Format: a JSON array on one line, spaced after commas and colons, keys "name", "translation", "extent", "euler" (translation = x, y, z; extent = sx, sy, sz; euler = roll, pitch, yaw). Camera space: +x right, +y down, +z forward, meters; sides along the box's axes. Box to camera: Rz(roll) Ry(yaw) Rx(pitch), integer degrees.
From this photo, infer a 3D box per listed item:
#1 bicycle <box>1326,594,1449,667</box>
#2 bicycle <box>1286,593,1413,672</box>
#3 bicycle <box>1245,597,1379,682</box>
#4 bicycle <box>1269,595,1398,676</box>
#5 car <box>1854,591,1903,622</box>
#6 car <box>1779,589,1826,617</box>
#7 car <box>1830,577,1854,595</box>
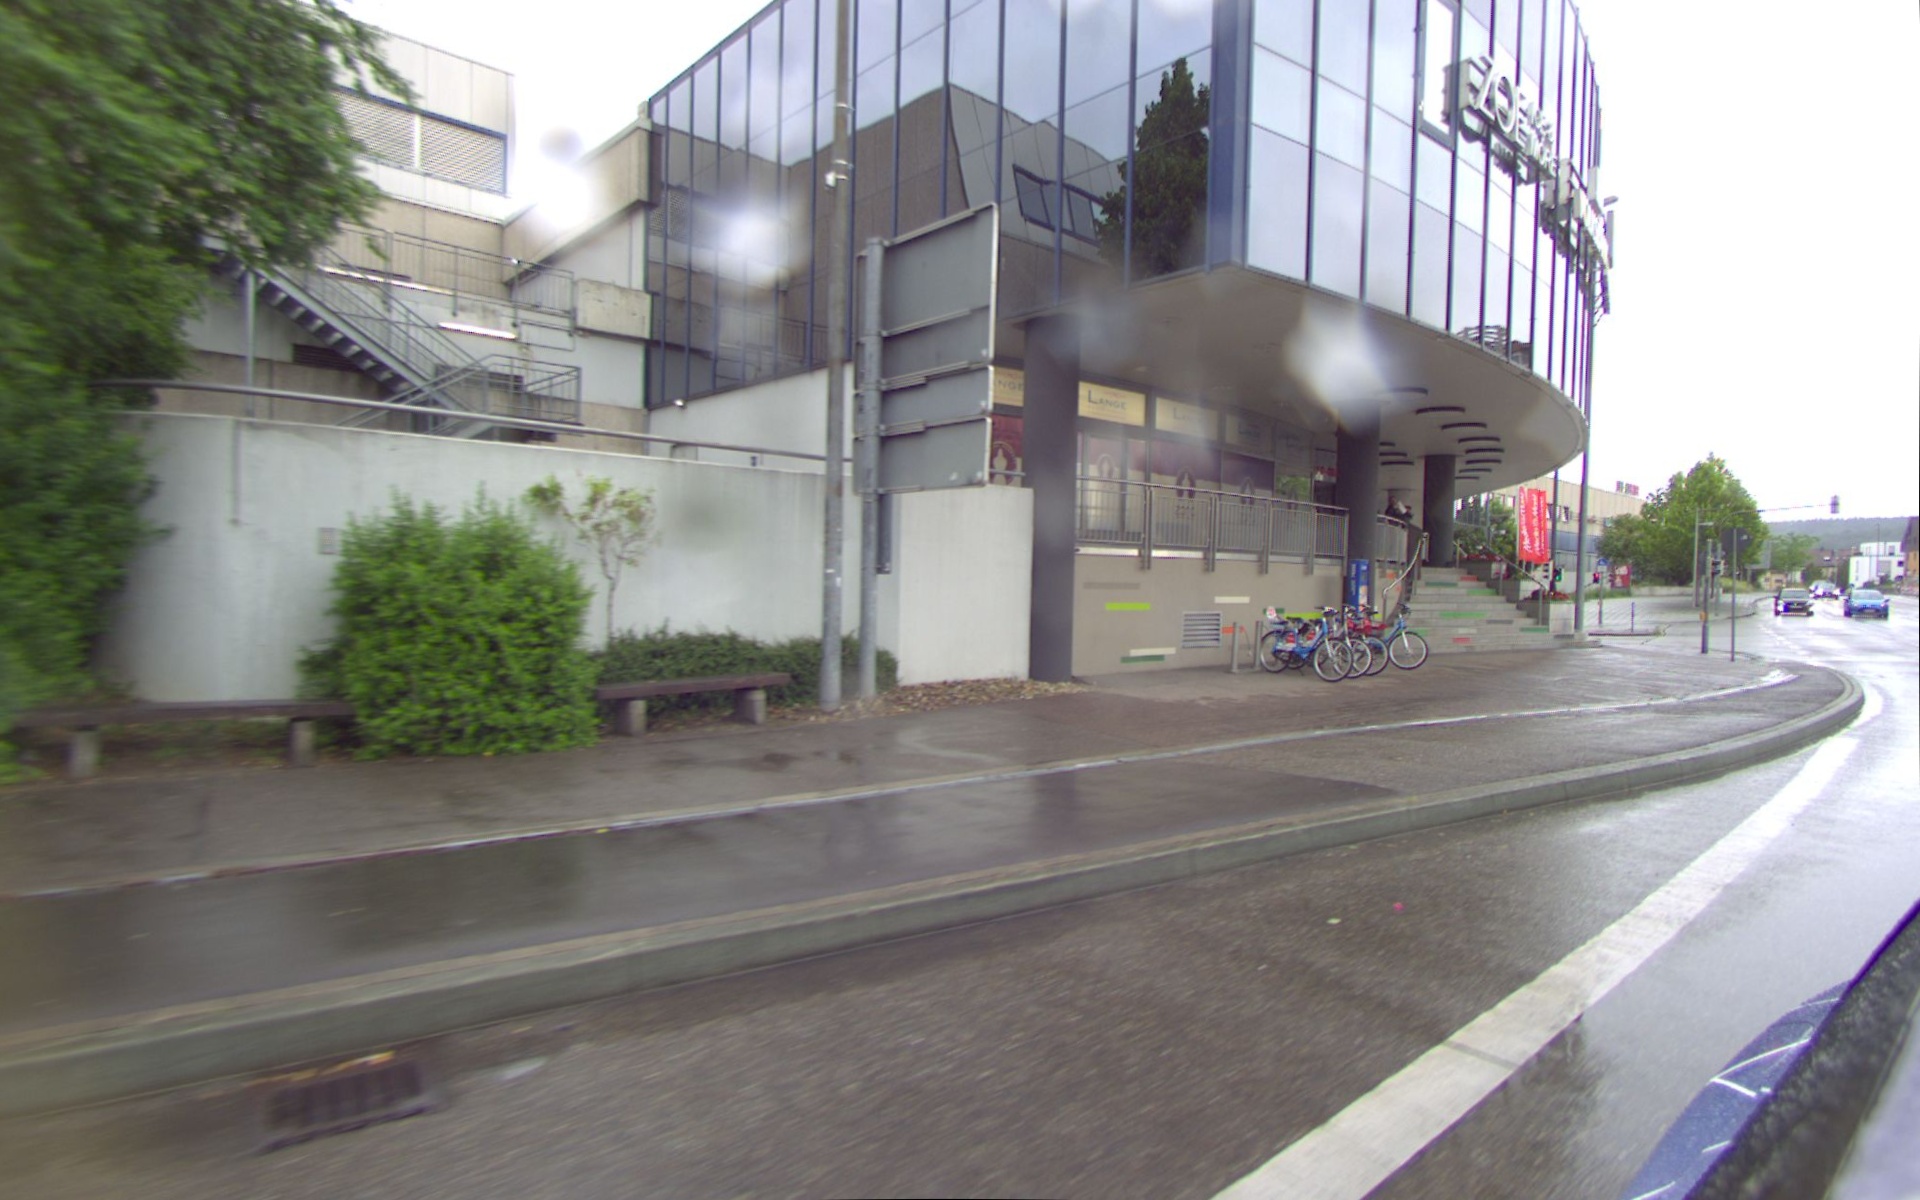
[{"name": "bicycle", "translation": [7.456, 0.500, 17.722], "extent": [0.682, 1.124, 1.835], "euler": [0, 3, -39]}, {"name": "bicycle", "translation": [6.383, 0.502, 16.679], "extent": [0.682, 1.124, 1.815], "euler": [1, 3, -39]}, {"name": "bicycle", "translation": [5.361, 0.566, 15.517], "extent": [0.682, 1.124, 1.815], "euler": [1, 3, -39]}, {"name": "bicycle", "translation": [5.907, 0.535, 16.083], "extent": [0.672, 1.098, 1.806], "euler": [-1, 4, -39]}, {"name": "car", "translation": [50.251, 0.333, 55.408], "extent": [1.895, 1.545, 3.939], "euler": [2, 1, 42]}, {"name": "car", "translation": [48.394, 0.162, 58.092], "extent": [1.895, 1.545, 3.939], "euler": [2, 1, 42]}, {"name": "car", "translation": [81.682, -1.287, 93.716], "extent": [1.578, 1.660, 3.585], "euler": [2, 1, 42]}]
